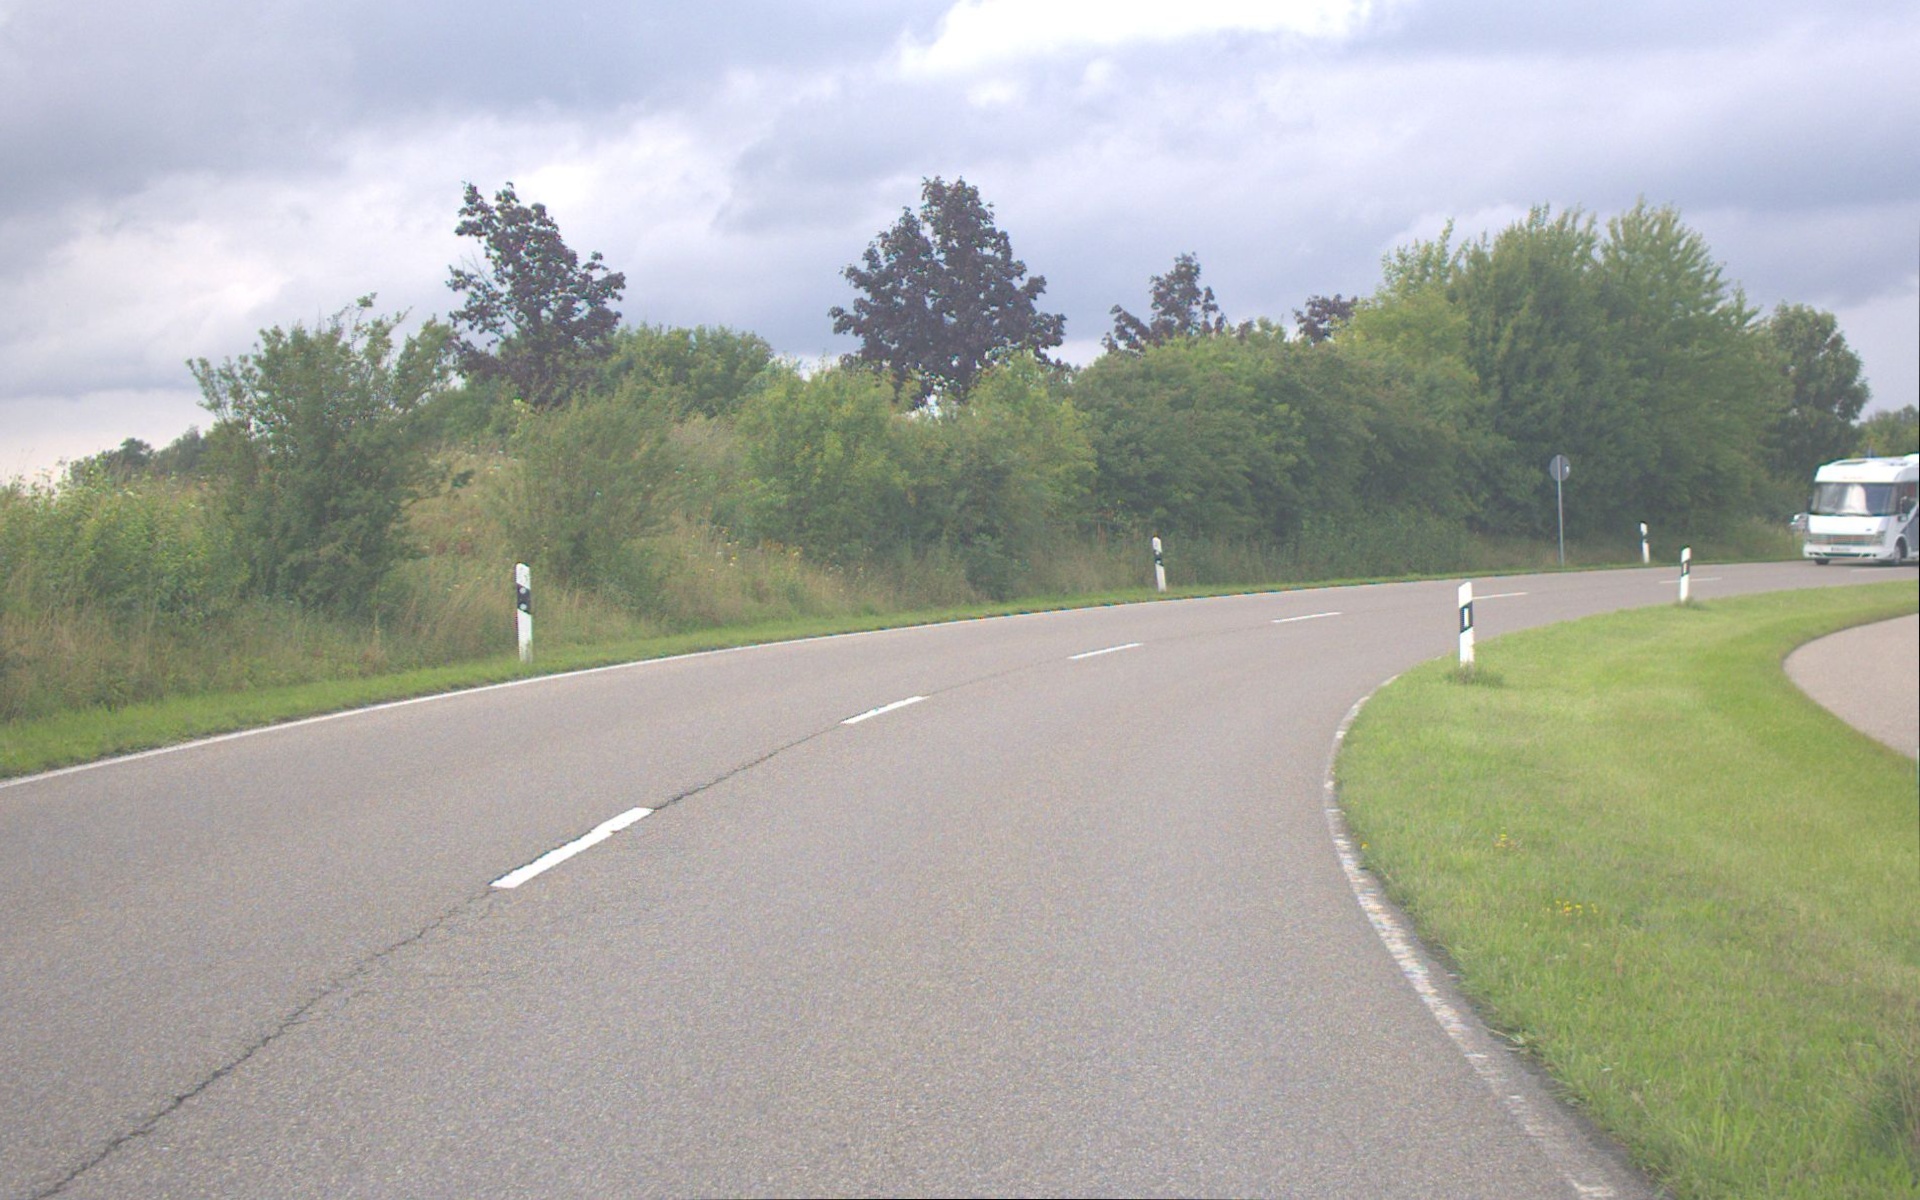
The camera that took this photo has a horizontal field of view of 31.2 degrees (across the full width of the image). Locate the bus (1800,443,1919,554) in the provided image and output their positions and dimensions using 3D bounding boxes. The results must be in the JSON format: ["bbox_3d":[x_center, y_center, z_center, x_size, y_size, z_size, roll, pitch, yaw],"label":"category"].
[{"bbox_3d":[24.280,-2.566,87.531,2.480,2.702,8.413,1,2,37],"label":"bus"}]
